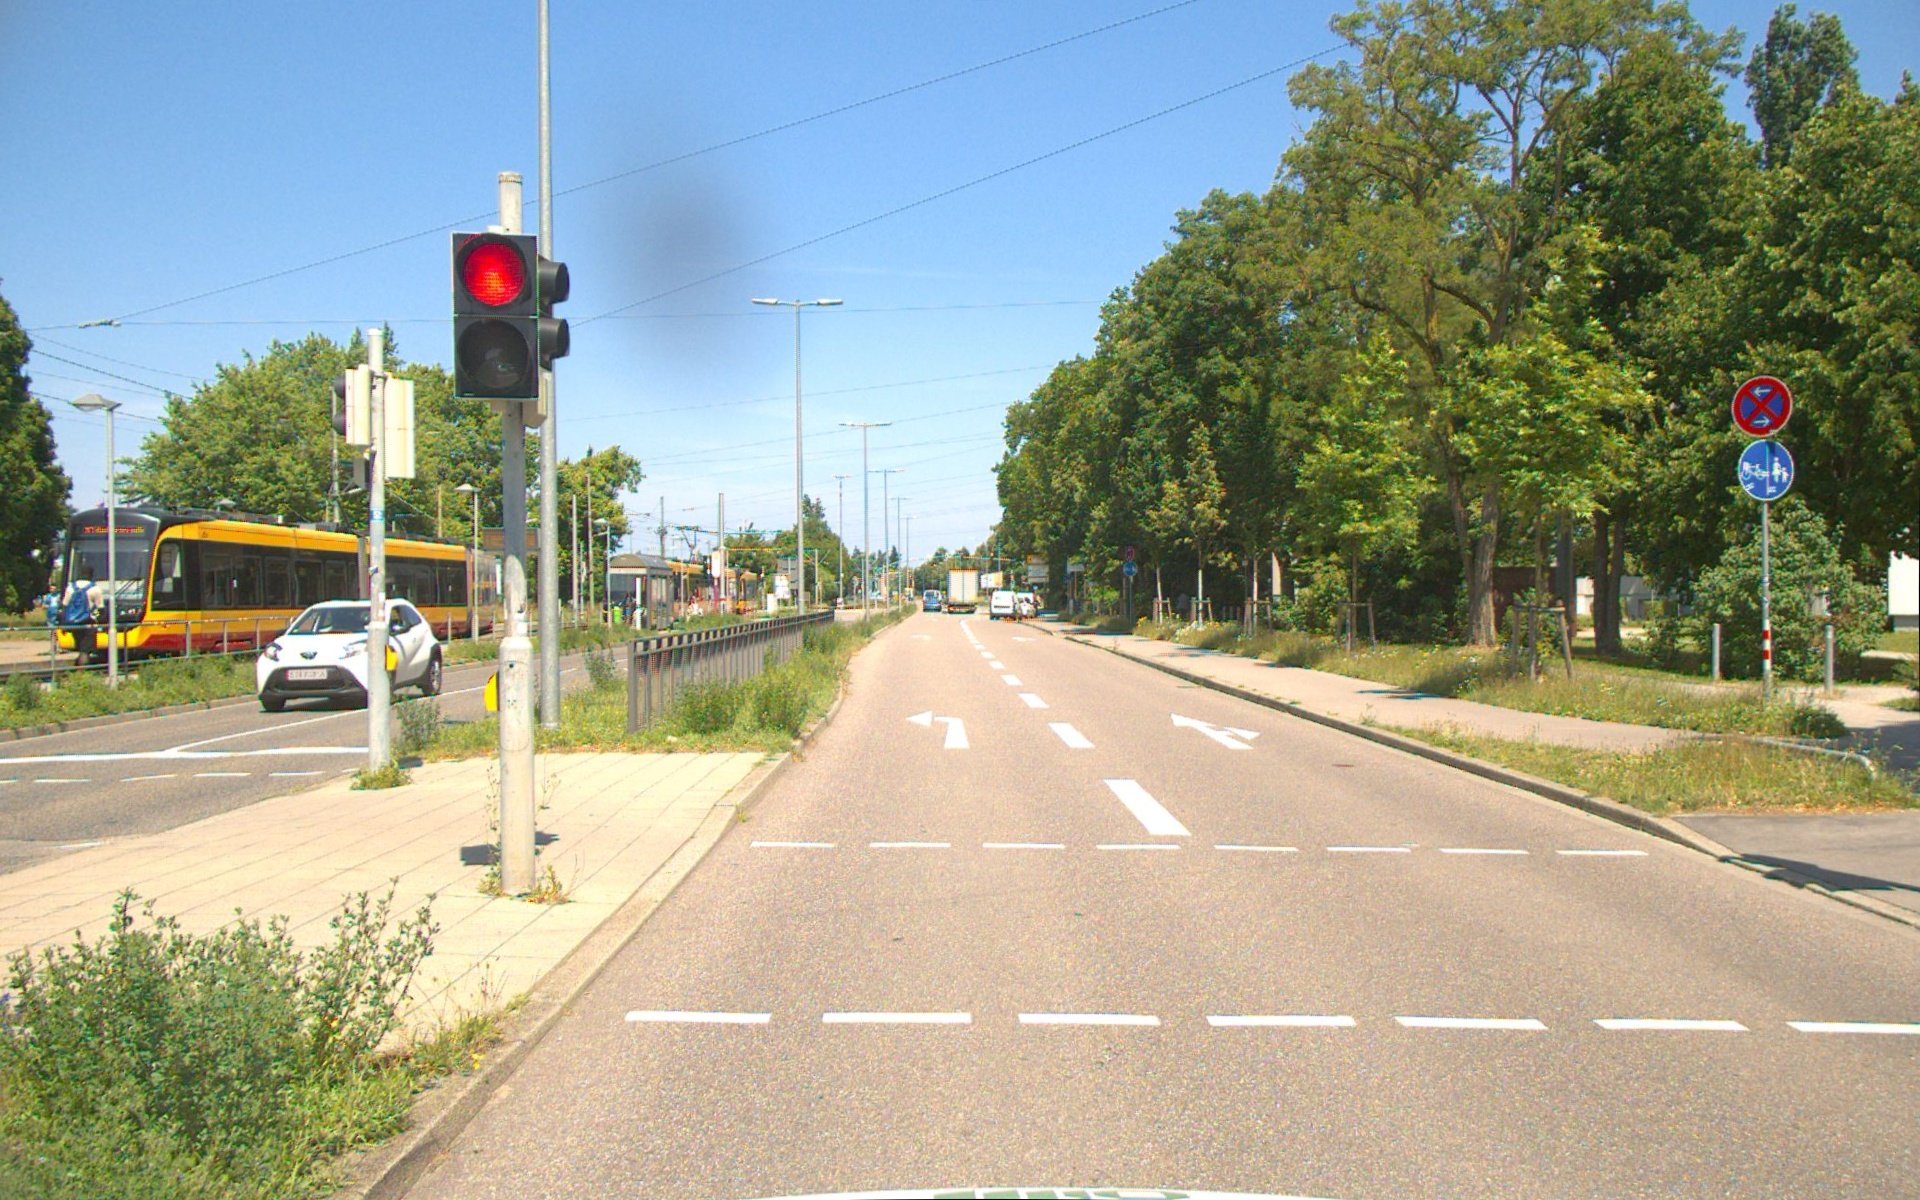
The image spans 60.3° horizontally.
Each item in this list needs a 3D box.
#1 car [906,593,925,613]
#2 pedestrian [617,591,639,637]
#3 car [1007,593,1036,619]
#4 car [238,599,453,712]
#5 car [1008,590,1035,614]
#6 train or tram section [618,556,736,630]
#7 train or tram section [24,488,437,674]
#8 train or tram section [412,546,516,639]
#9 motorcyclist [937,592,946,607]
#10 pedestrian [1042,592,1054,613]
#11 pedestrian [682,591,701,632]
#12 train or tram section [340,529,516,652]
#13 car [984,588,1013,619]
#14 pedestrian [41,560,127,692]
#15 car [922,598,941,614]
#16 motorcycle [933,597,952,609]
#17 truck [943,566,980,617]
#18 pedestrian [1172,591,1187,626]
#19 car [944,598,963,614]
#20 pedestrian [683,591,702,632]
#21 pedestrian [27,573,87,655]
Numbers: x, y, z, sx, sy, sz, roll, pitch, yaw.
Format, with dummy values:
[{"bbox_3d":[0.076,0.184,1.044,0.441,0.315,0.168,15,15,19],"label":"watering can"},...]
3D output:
[{"bbox_3d":[-4.714,0.331,175.083,1.953,2.049,3.999,0,0,-1],"label":"car"},{"bbox_3d":[-13.856,0.590,69.075,0.769,1.901,0.817,0,0,-1],"label":"pedestrian"},{"bbox_3d":[4.172,0.398,112.498,1.743,1.698,3.999,0,0,-1],"label":"car"},{"bbox_3d":[-8.975,0.760,24.498,1.807,1.521,3.790,0,0,-1],"label":"car"},{"bbox_3d":[4.395,0.118,118.849,1.743,1.698,3.999,0,0,-1],"label":"car"},{"bbox_3d":[-16.676,-0.403,100.750,2.898,3.815,30.022,0,0,-2],"label":"train or tram section"},{"bbox_3d":[-18.647,-0.438,44.904,3.150,4.000,18.498,0,0,0],"label":"train or tram section"},{"bbox_3d":[-24.307,-0.365,80.183,3.171,4.000,18.375,0,0,-22],"label":"train or tram section"},{"bbox_3d":[-2.216,-0.060,201.338,0.908,1.867,0.847,0,0,-12],"label":"motorcyclist"},{"bbox_3d":[8.696,0.252,163.547,1.161,2.049,1.213,0,0,-1],"label":"pedestrian"},{"bbox_3d":[-13.750,0.589,84.722,0.798,2.049,0.938,0,0,-1],"label":"pedestrian"},{"bbox_3d":[-19.799,-0.349,63.119,3.155,4.000,18.468,0,0,-8],"label":"train or tram section"},{"bbox_3d":[2.444,0.220,105.544,1.743,1.937,3.999,0,0,-1],"label":"car"},{"bbox_3d":[-12.674,0.359,23.940,0.703,1.808,0.842,4,2,-1],"label":"pedestrian"},{"bbox_3d":[-2.700,0.521,157.830,1.774,1.490,3.999,0,0,-1],"label":"car"},{"bbox_3d":[-2.163,0.369,201.293,2.144,1.431,0.845,0,0,-12],"label":"motorcycle"},{"bbox_3d":[0.057,-0.731,146.060,3.140,4.435,6.559,0,0,-1],"label":"truck"},{"bbox_3d":[9.343,0.370,70.395,0.591,1.463,0.556,0,0,6],"label":"pedestrian"},{"bbox_3d":[-0.605,0.562,153.594,1.774,1.490,3.999,0,0,-1],"label":"car"},{"bbox_3d":[-13.473,0.588,83.433,0.798,2.049,0.938,0,0,-1],"label":"pedestrian"},{"bbox_3d":[-22.977,0.343,42.109,0.961,2.049,1.021,0,0,-1],"label":"pedestrian"}]
